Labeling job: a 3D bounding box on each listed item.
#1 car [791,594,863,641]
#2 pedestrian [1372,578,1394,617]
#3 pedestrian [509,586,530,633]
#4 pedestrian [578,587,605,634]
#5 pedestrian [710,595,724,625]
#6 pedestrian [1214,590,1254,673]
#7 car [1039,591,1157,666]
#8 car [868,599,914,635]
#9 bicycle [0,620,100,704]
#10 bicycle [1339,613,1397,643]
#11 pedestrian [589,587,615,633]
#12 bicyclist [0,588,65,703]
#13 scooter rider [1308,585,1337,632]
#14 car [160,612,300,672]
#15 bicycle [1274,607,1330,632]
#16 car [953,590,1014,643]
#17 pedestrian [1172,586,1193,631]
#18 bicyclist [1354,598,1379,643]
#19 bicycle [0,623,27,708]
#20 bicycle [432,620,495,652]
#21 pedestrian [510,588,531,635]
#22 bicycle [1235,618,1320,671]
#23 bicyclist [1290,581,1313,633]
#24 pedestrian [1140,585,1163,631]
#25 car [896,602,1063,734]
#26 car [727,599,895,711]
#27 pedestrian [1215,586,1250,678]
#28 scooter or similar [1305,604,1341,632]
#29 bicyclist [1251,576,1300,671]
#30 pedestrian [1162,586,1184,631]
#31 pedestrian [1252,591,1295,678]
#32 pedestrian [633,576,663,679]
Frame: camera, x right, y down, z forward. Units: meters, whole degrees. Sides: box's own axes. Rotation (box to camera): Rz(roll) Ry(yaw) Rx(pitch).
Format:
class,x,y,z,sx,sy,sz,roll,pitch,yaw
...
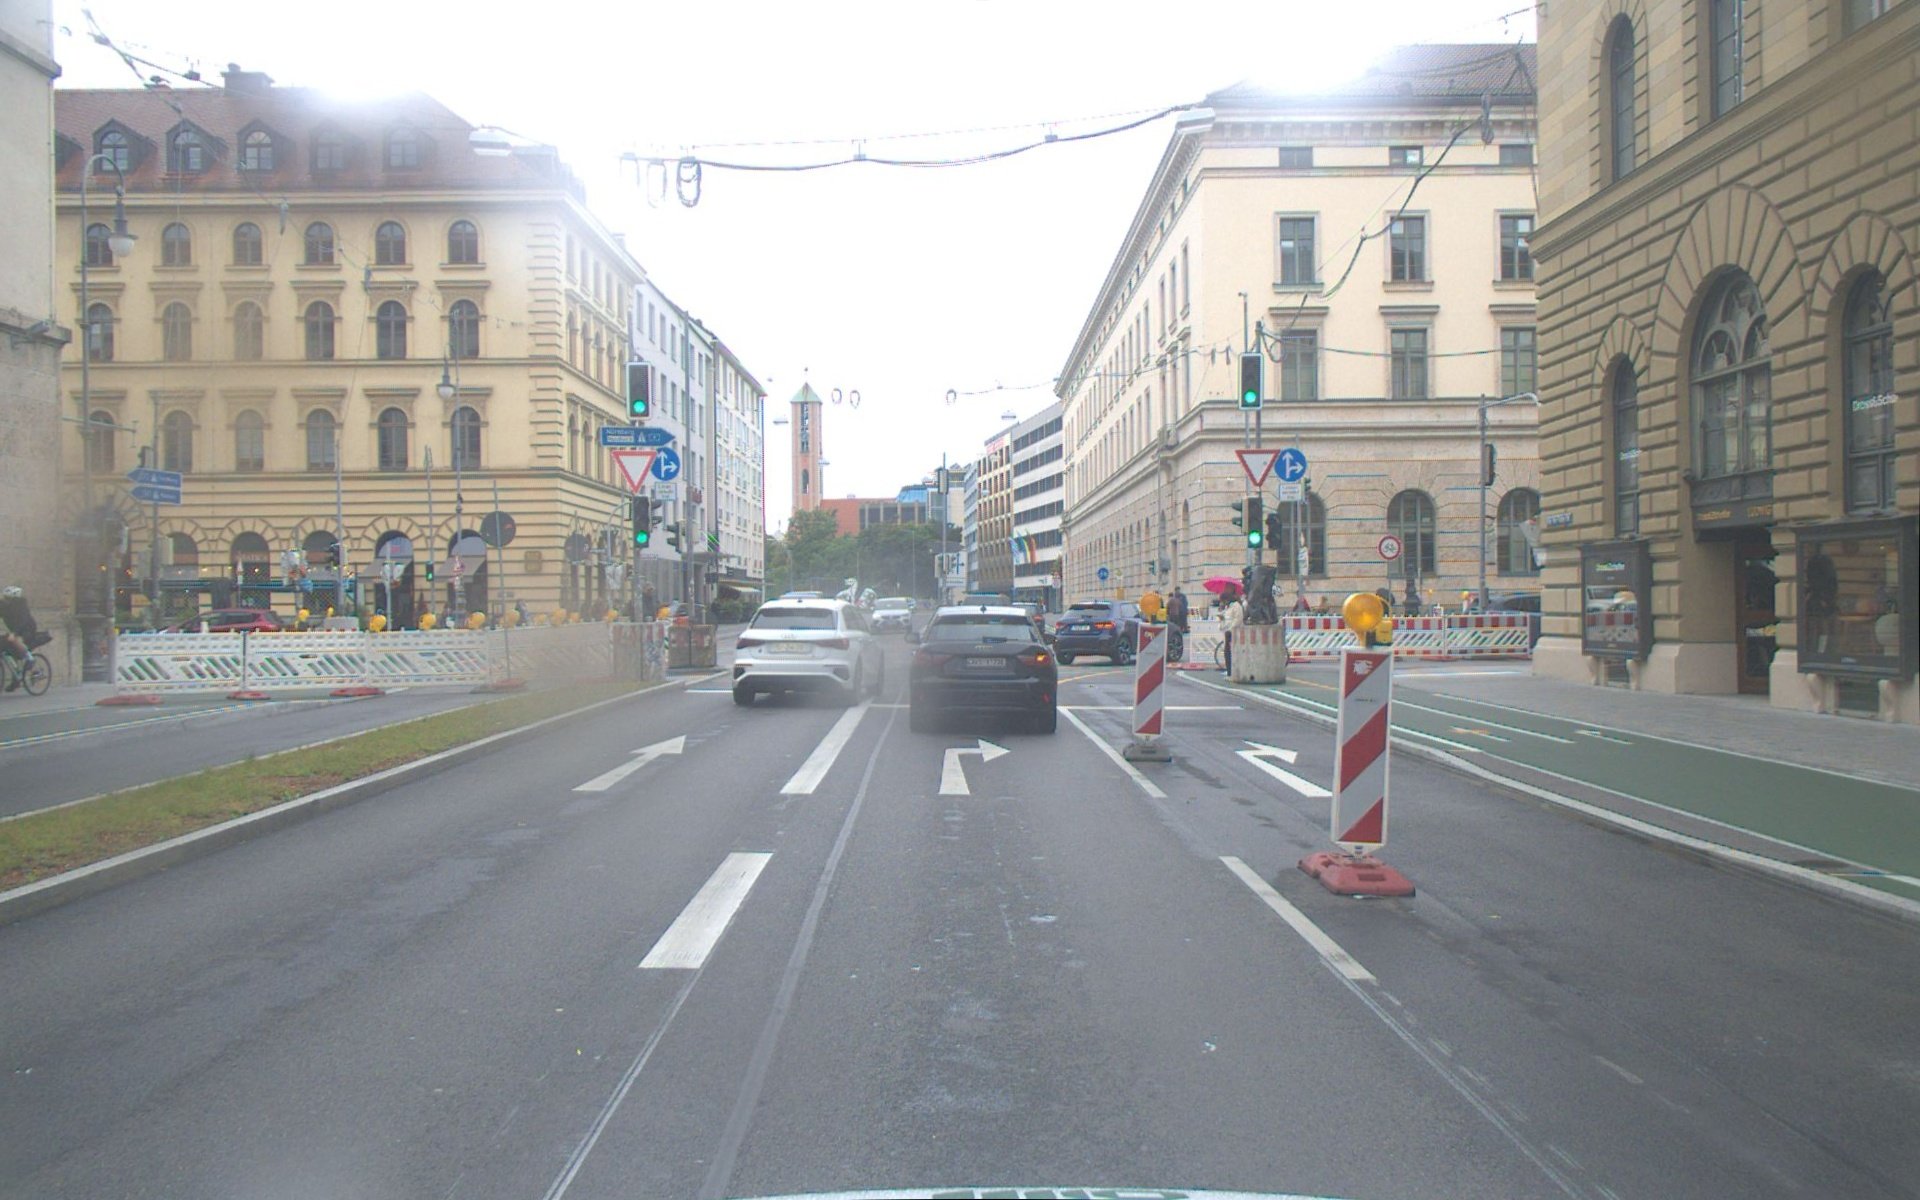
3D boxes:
class,x,y,z,sx,sy,sz,roll,pitch,yaw
car,-5.046,0.634,63.297,1.755,1.707,4.237,-1,0,9
pedestrian,16.866,-0.093,65.960,0.651,1.554,0.820,0,0,-1
pedestrian,-16.978,0.350,63.763,0.720,1.803,0.737,0,0,-11
pedestrian,-14.444,0.410,64.799,0.718,1.803,0.761,0,0,20
pedestrian,-14.864,0.595,101.063,0.722,1.803,0.736,0,0,-1
pedestrian,5.299,0.602,32.005,0.688,1.594,0.584,0,0,2
car,3.302,0.624,38.850,1.732,1.645,4.000,0,0,20
car,-3.102,0.729,75.137,1.953,1.550,4.232,-1,0,-1
bicycle,-14.939,0.981,26.775,0.770,1.264,2.200,0,0,4
bicycle,14.836,1.028,60.115,1.917,1.058,0.795,0,0,2
pedestrian,-14.168,0.376,65.527,0.718,1.803,0.739,0,0,20
bicyclist,-14.952,0.721,26.525,0.781,1.807,0.689,0,0,3
scooter rider,12.934,0.308,59.026,0.913,1.651,0.592,0,0,1
car,-23.399,1.322,53.141,3.666,1.830,1.866,-1,0,-4
bicycle,12.477,0.719,60.329,1.931,0.895,0.662,0,0,2
car,0.721,0.522,53.646,1.827,1.629,3.850,-1,0,-1
pedestrian,8.913,0.333,66.297,0.573,1.786,0.818,0,0,30
bicyclist,14.774,0.736,60.114,0.728,1.643,0.795,0,0,2
bicycle,-14.887,0.991,24.365,0.770,1.264,2.450,0,0,4
bicycle,-18.408,1.327,61.314,2.164,1.118,0.595,-1,0,-26
pedestrian,-17.128,0.445,64.502,0.720,1.803,0.737,0,0,-11
bicycle,6.434,0.893,33.590,1.627,1.029,0.583,0,0,42
bicyclist,12.445,0.256,60.332,0.728,1.874,0.661,0,0,2
pedestrian,7.553,0.298,65.199,0.800,1.786,0.680,0,0,16
car,0.191,0.746,20.083,1.825,1.412,3.999,0,0,-1
car,-2.061,0.727,24.121,1.775,1.449,4.454,1,0,4
pedestrian,4.941,0.575,30.018,0.520,1.648,0.674,0,0,2
scooter or similar,12.955,0.642,59.025,1.186,0.982,0.588,0,0,1
bicyclist,6.410,0.468,33.615,0.785,1.886,0.564,0,0,41
pedestrian,8.448,0.325,65.529,0.573,1.786,0.818,0,0,30
pedestrian,5.850,0.632,30.908,0.688,1.594,0.682,0,0,2
pedestrian,-5.482,0.475,29.105,0.503,1.773,1.041,0,0,-10
